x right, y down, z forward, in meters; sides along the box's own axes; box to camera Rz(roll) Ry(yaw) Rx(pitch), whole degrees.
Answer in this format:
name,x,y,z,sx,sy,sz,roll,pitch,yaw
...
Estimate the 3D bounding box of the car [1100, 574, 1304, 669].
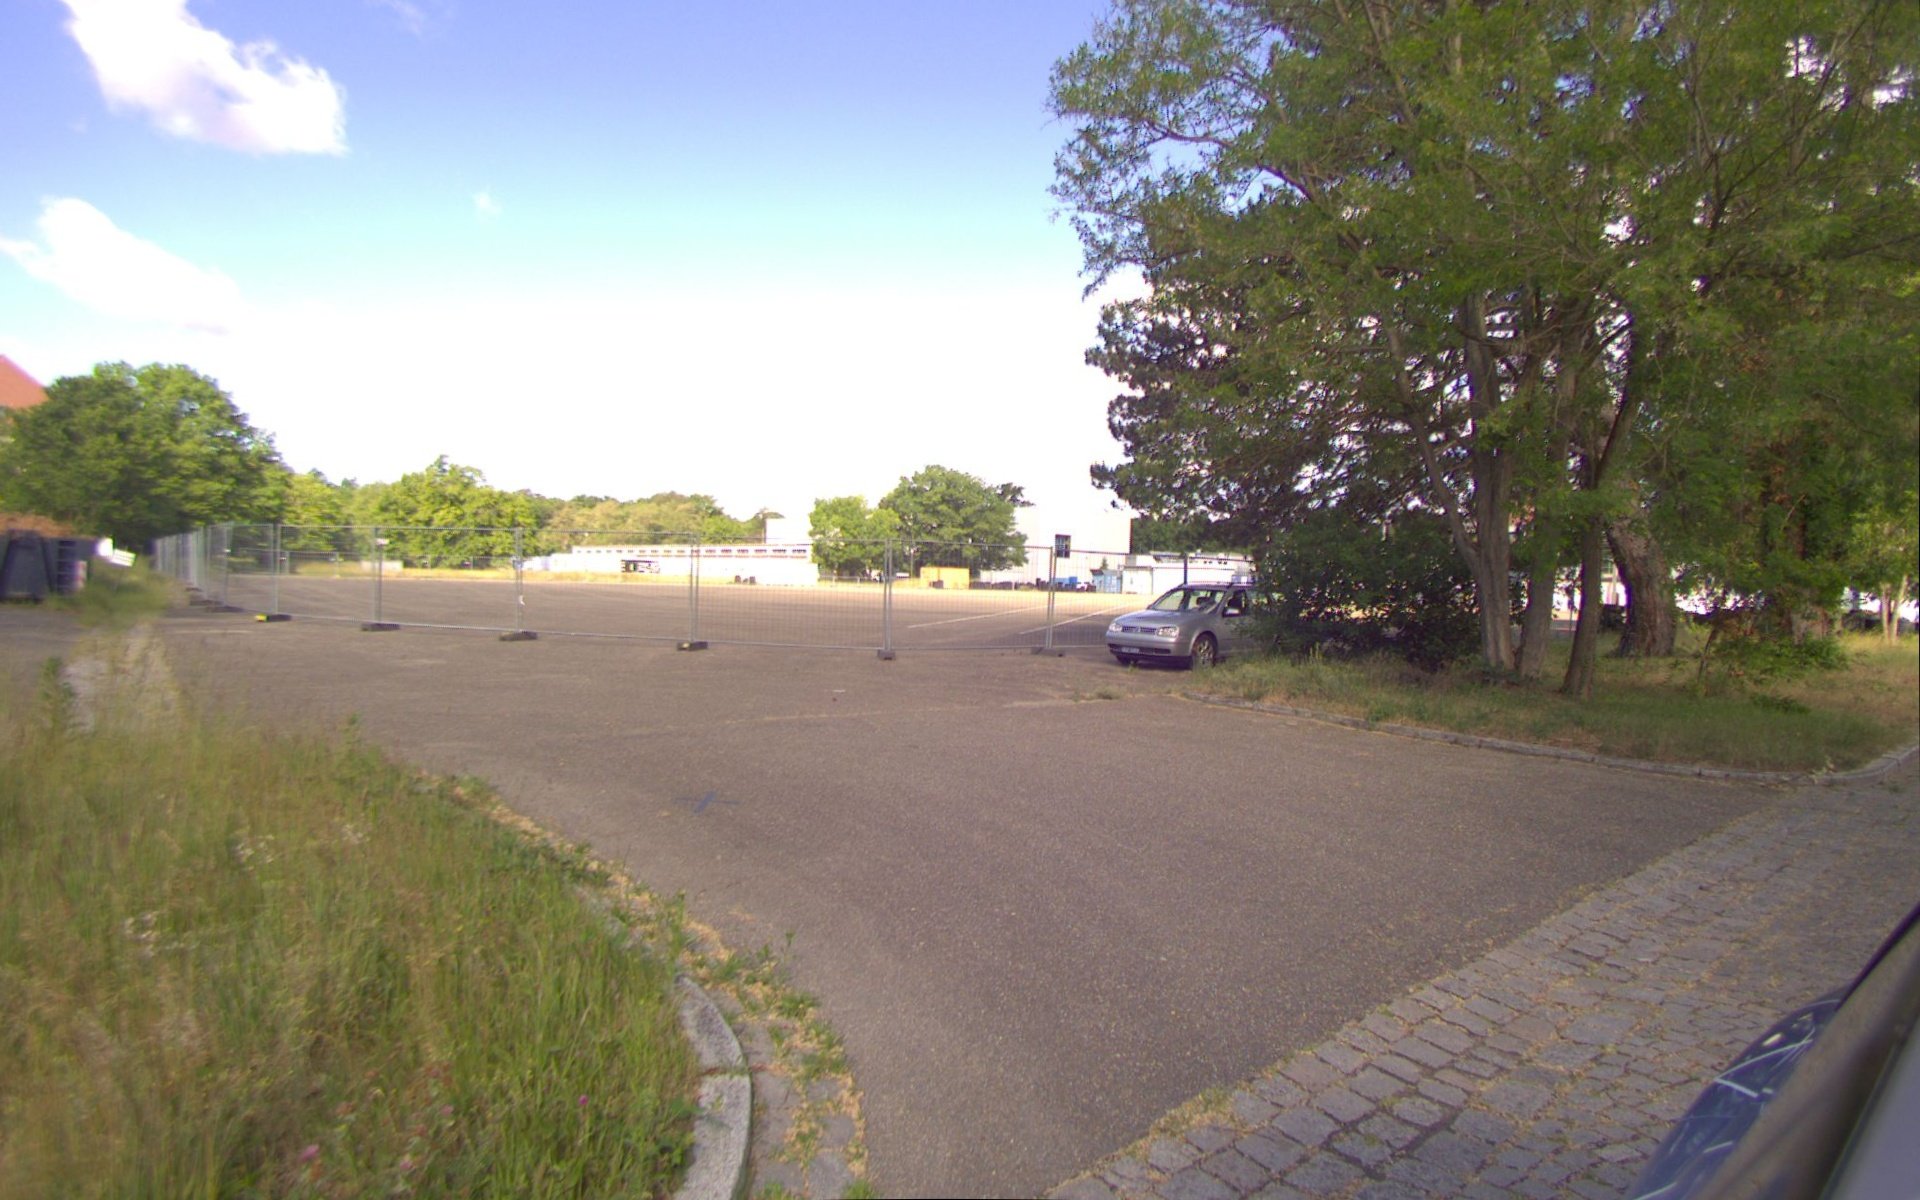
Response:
name,x,y,z,sx,sy,sz,roll,pitch,yaw
car,4.329,0.329,17.765,3.920,1.461,1.576,0,2,-43
